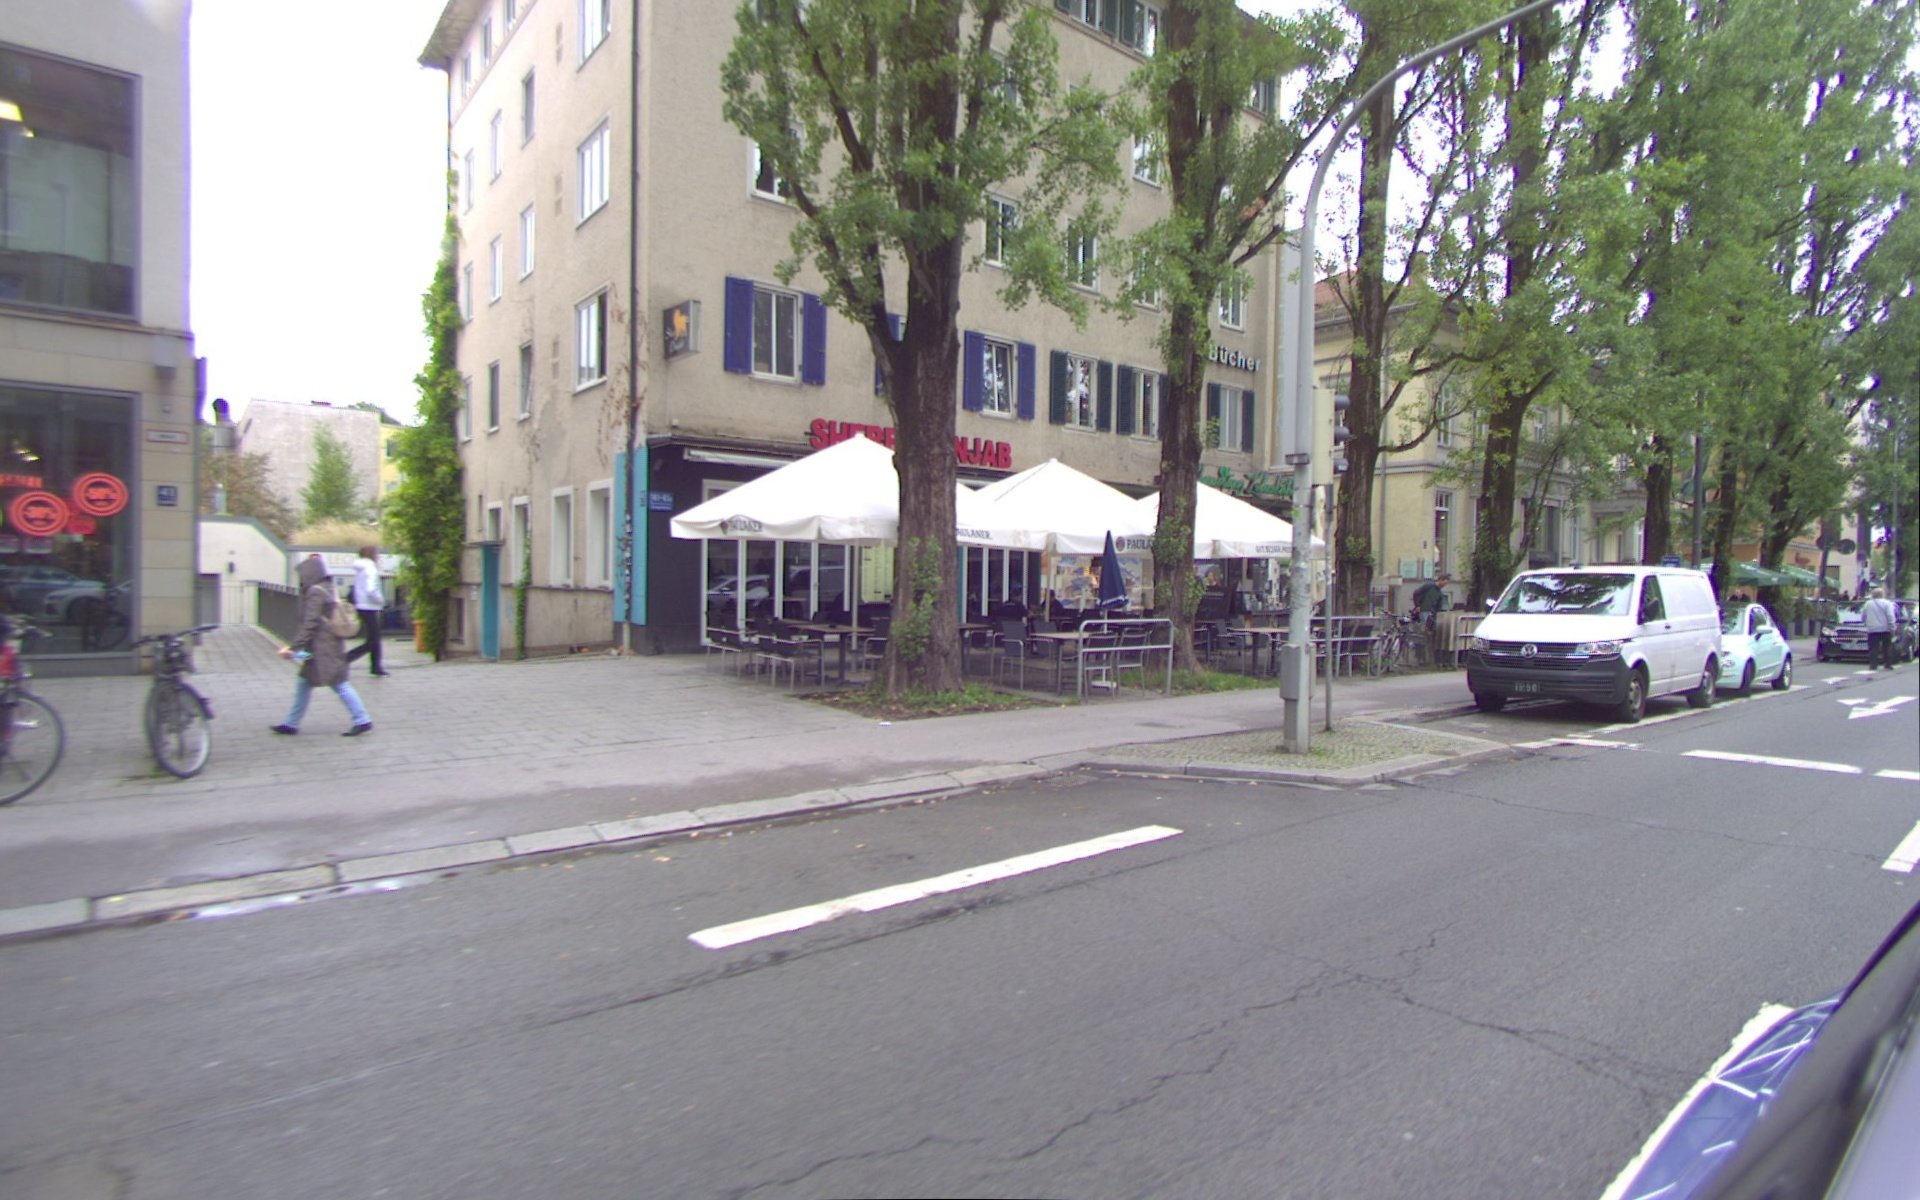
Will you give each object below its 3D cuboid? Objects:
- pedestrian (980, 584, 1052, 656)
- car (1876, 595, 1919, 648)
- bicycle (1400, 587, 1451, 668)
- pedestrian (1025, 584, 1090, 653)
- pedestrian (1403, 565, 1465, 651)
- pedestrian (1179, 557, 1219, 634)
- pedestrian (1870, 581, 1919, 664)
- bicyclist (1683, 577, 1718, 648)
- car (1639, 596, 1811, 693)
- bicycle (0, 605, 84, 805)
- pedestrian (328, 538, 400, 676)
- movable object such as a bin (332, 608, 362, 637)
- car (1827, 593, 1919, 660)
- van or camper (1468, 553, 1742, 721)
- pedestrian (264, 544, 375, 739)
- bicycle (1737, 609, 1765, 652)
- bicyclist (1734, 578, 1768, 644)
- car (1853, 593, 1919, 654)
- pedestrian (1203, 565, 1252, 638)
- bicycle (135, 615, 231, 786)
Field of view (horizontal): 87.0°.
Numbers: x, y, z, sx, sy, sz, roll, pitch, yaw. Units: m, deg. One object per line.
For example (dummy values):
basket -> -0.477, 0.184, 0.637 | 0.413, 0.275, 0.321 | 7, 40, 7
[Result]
pedestrian -> 0.979, 0.334, 17.841 | 1.004, 1.231, 0.775 | 0, 0, -36
car -> 29.405, 0.630, 30.968 | 3.537, 1.546, 1.476 | 0, 1, -39
bicycle -> 8.898, 0.486, 19.391 | 0.820, 1.429, 2.578 | 0, 0, 24
pedestrian -> 1.787, 0.323, 18.534 | 1.004, 1.231, 0.668 | 0, 0, -36
pedestrian -> 10.043, 0.160, 21.478 | 0.819, 1.788, 0.945 | 0, 0, -3
pedestrian -> 5.506, -0.110, 23.320 | 0.668, 1.741, 0.629 | 1, 0, -39
pedestrian -> 20.644, 0.482, 22.353 | 0.787, 1.779, 0.758 | 0, 0, 40
bicyclist -> 17.894, 0.297, 24.461 | 0.650, 1.671, 0.568 | 0, 0, -43
car -> 12.744, 0.667, 16.800 | 3.420, 1.414, 1.476 | 0, 1, -39
bicycle -> -6.401, 0.636, 6.810 | 0.673, 1.141, 1.902 | 0, 1, -39
pedestrian -> -7.573, 0.086, 12.852 | 0.680, 1.685, 0.667 | 1, 0, -40
movable object such as a bin -> -23.143, 0.835, 38.216 | 0.889, 1.056, 0.888 | 0, 0, -37
car -> 22.995, 0.615, 25.231 | 3.537, 1.546, 1.476 | 0, 1, -39
van or camper -> 8.845, 0.409, 13.726 | 4.483, 1.929, 1.795 | 0, 1, -39
pedestrian -> -5.627, 0.334, 8.895 | 0.778, 1.608, 0.712 | 1, 2, -33
bicycle -> 21.019, 0.799, 26.879 | 1.350, 1.107, 0.338 | 0, 1, -42
bicyclist -> 21.064, 0.284, 26.945 | 0.806, 1.699, 0.584 | 0, 1, -43
car -> 25.960, 0.608, 27.854 | 3.537, 1.546, 1.476 | 0, 1, -39
pedestrian -> 6.016, 0.035, 22.777 | 0.858, 1.597, 0.696 | 0, 0, -39
bicycle -> -5.678, 0.656, 7.381 | 0.494, 1.022, 1.844 | 0, 1, -38
